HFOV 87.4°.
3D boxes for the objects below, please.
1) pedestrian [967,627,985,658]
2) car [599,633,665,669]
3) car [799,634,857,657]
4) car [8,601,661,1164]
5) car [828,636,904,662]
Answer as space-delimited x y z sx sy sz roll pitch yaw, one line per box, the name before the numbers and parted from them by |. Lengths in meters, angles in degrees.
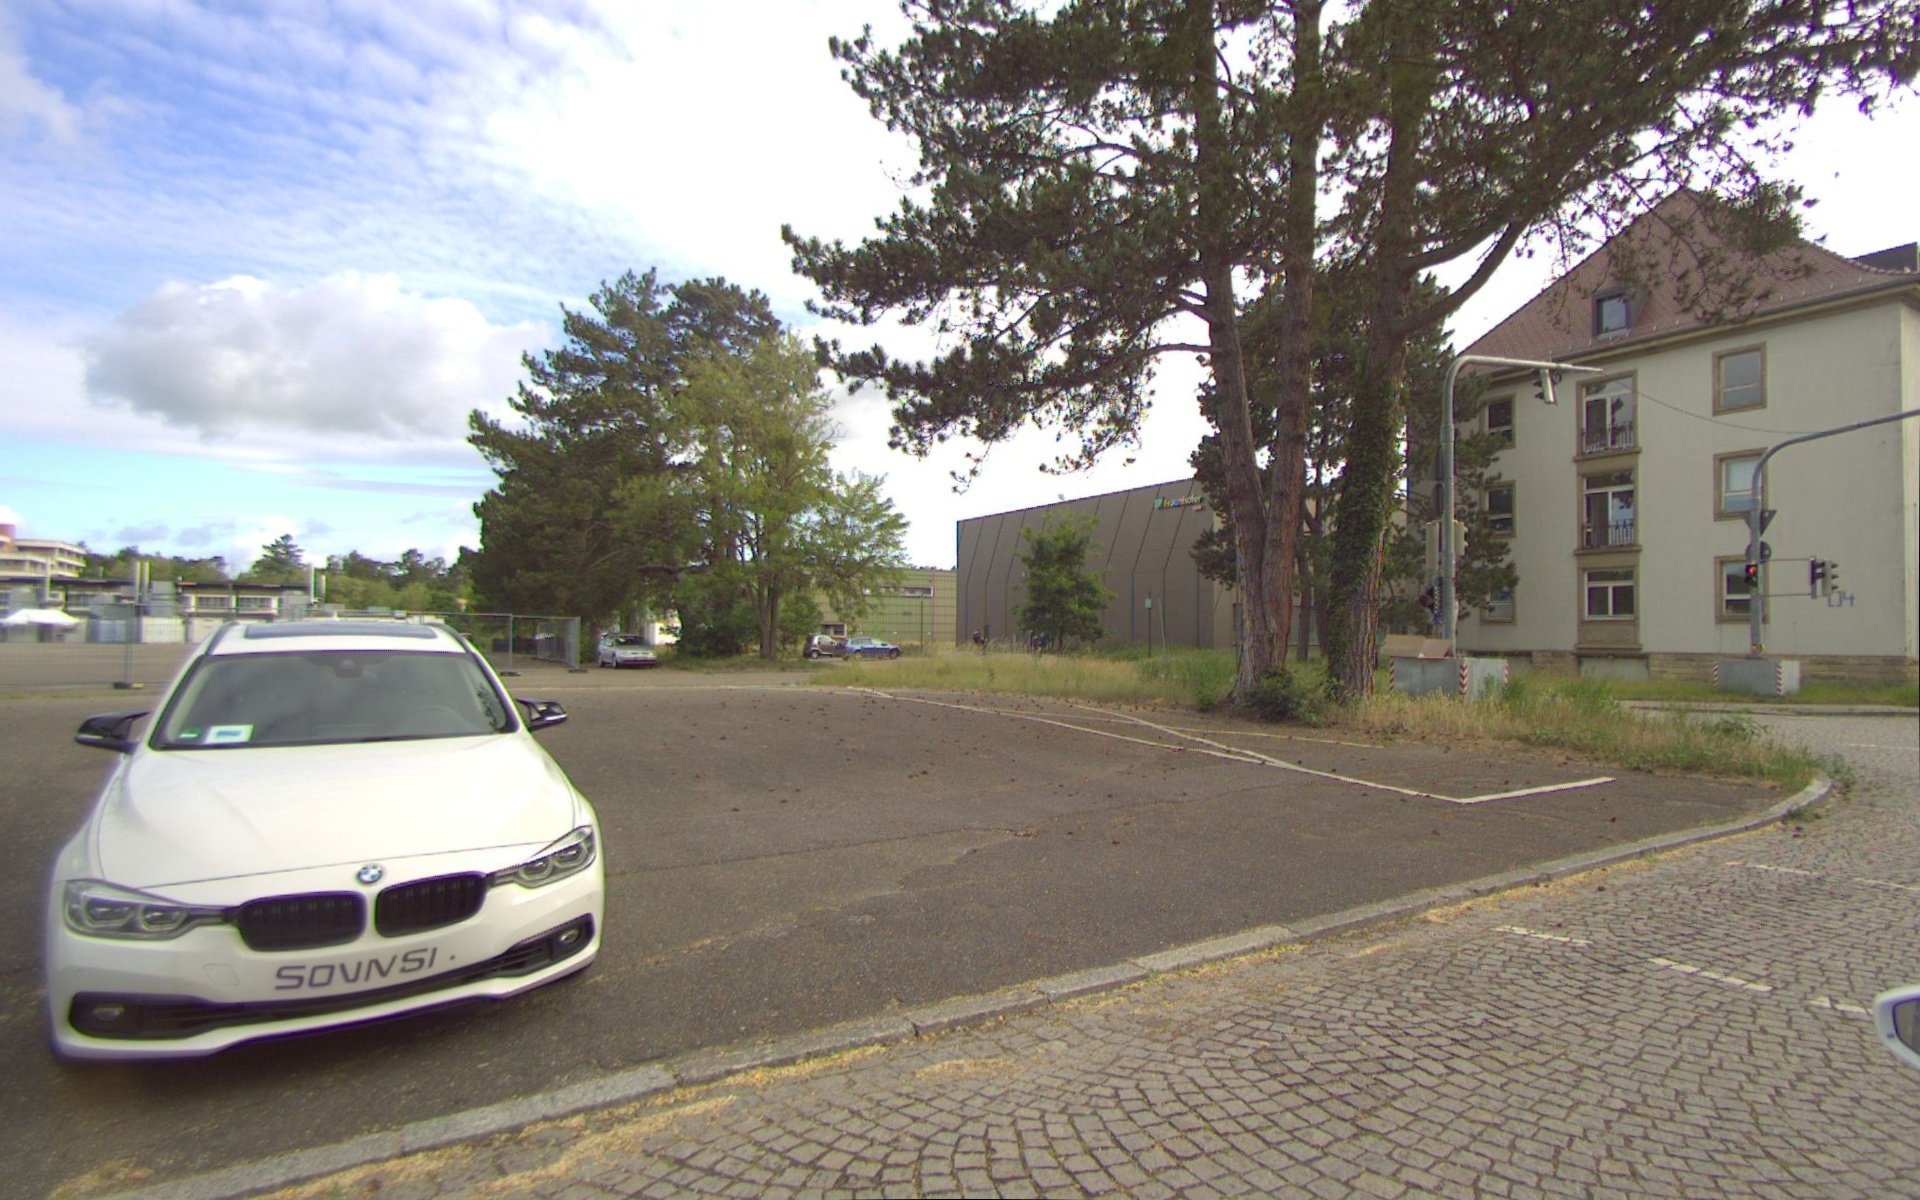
pedestrian | 1.078 2.835 66.633 0.890 2.040 0.915 1 -2 -28
car | -13.800 2.098 42.128 1.679 1.410 3.965 2 -2 -33
car | -9.305 3.181 70.928 3.616 1.449 1.984 0 -1 -30
car | -3.174 0.804 5.190 1.783 1.463 4.617 2 0 -34
car | -6.004 3.105 64.280 4.407 1.449 1.984 0 -1 -30
